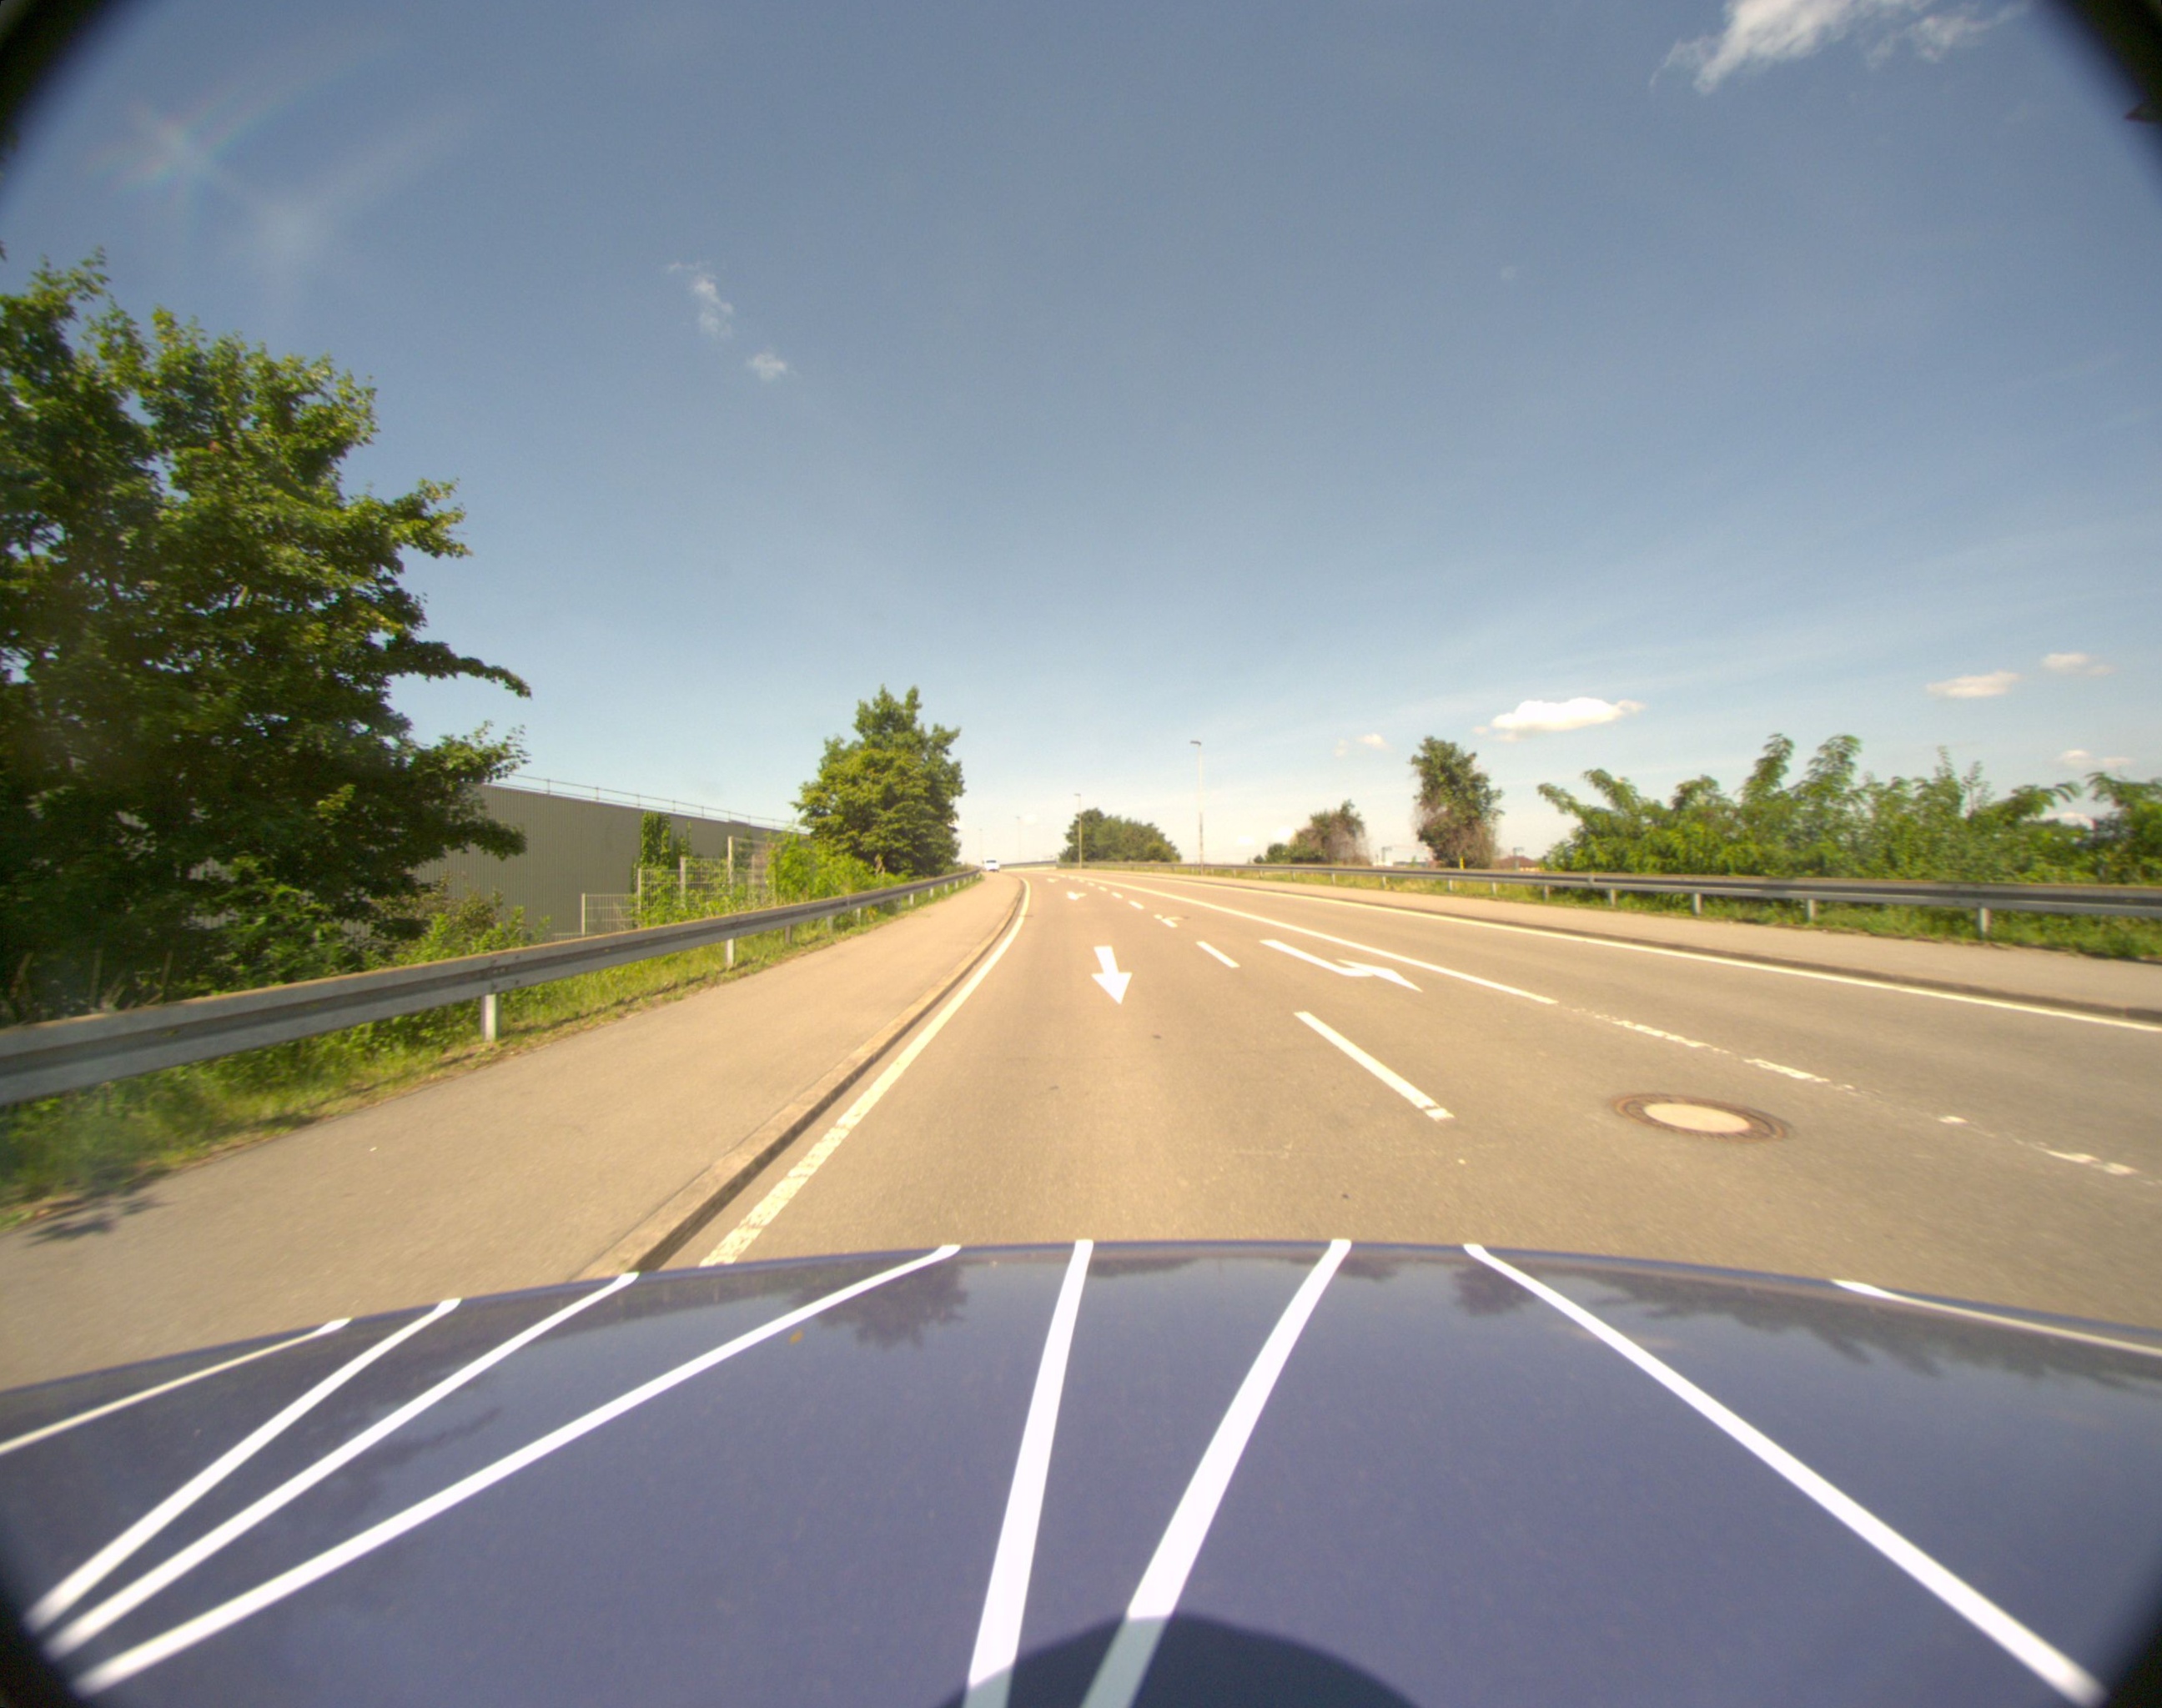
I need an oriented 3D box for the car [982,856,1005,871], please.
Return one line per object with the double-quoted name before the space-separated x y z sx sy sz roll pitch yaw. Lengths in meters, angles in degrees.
"car" -11.576 1.243 100.390 2.096 1.750 4.276 -3 0 -20
